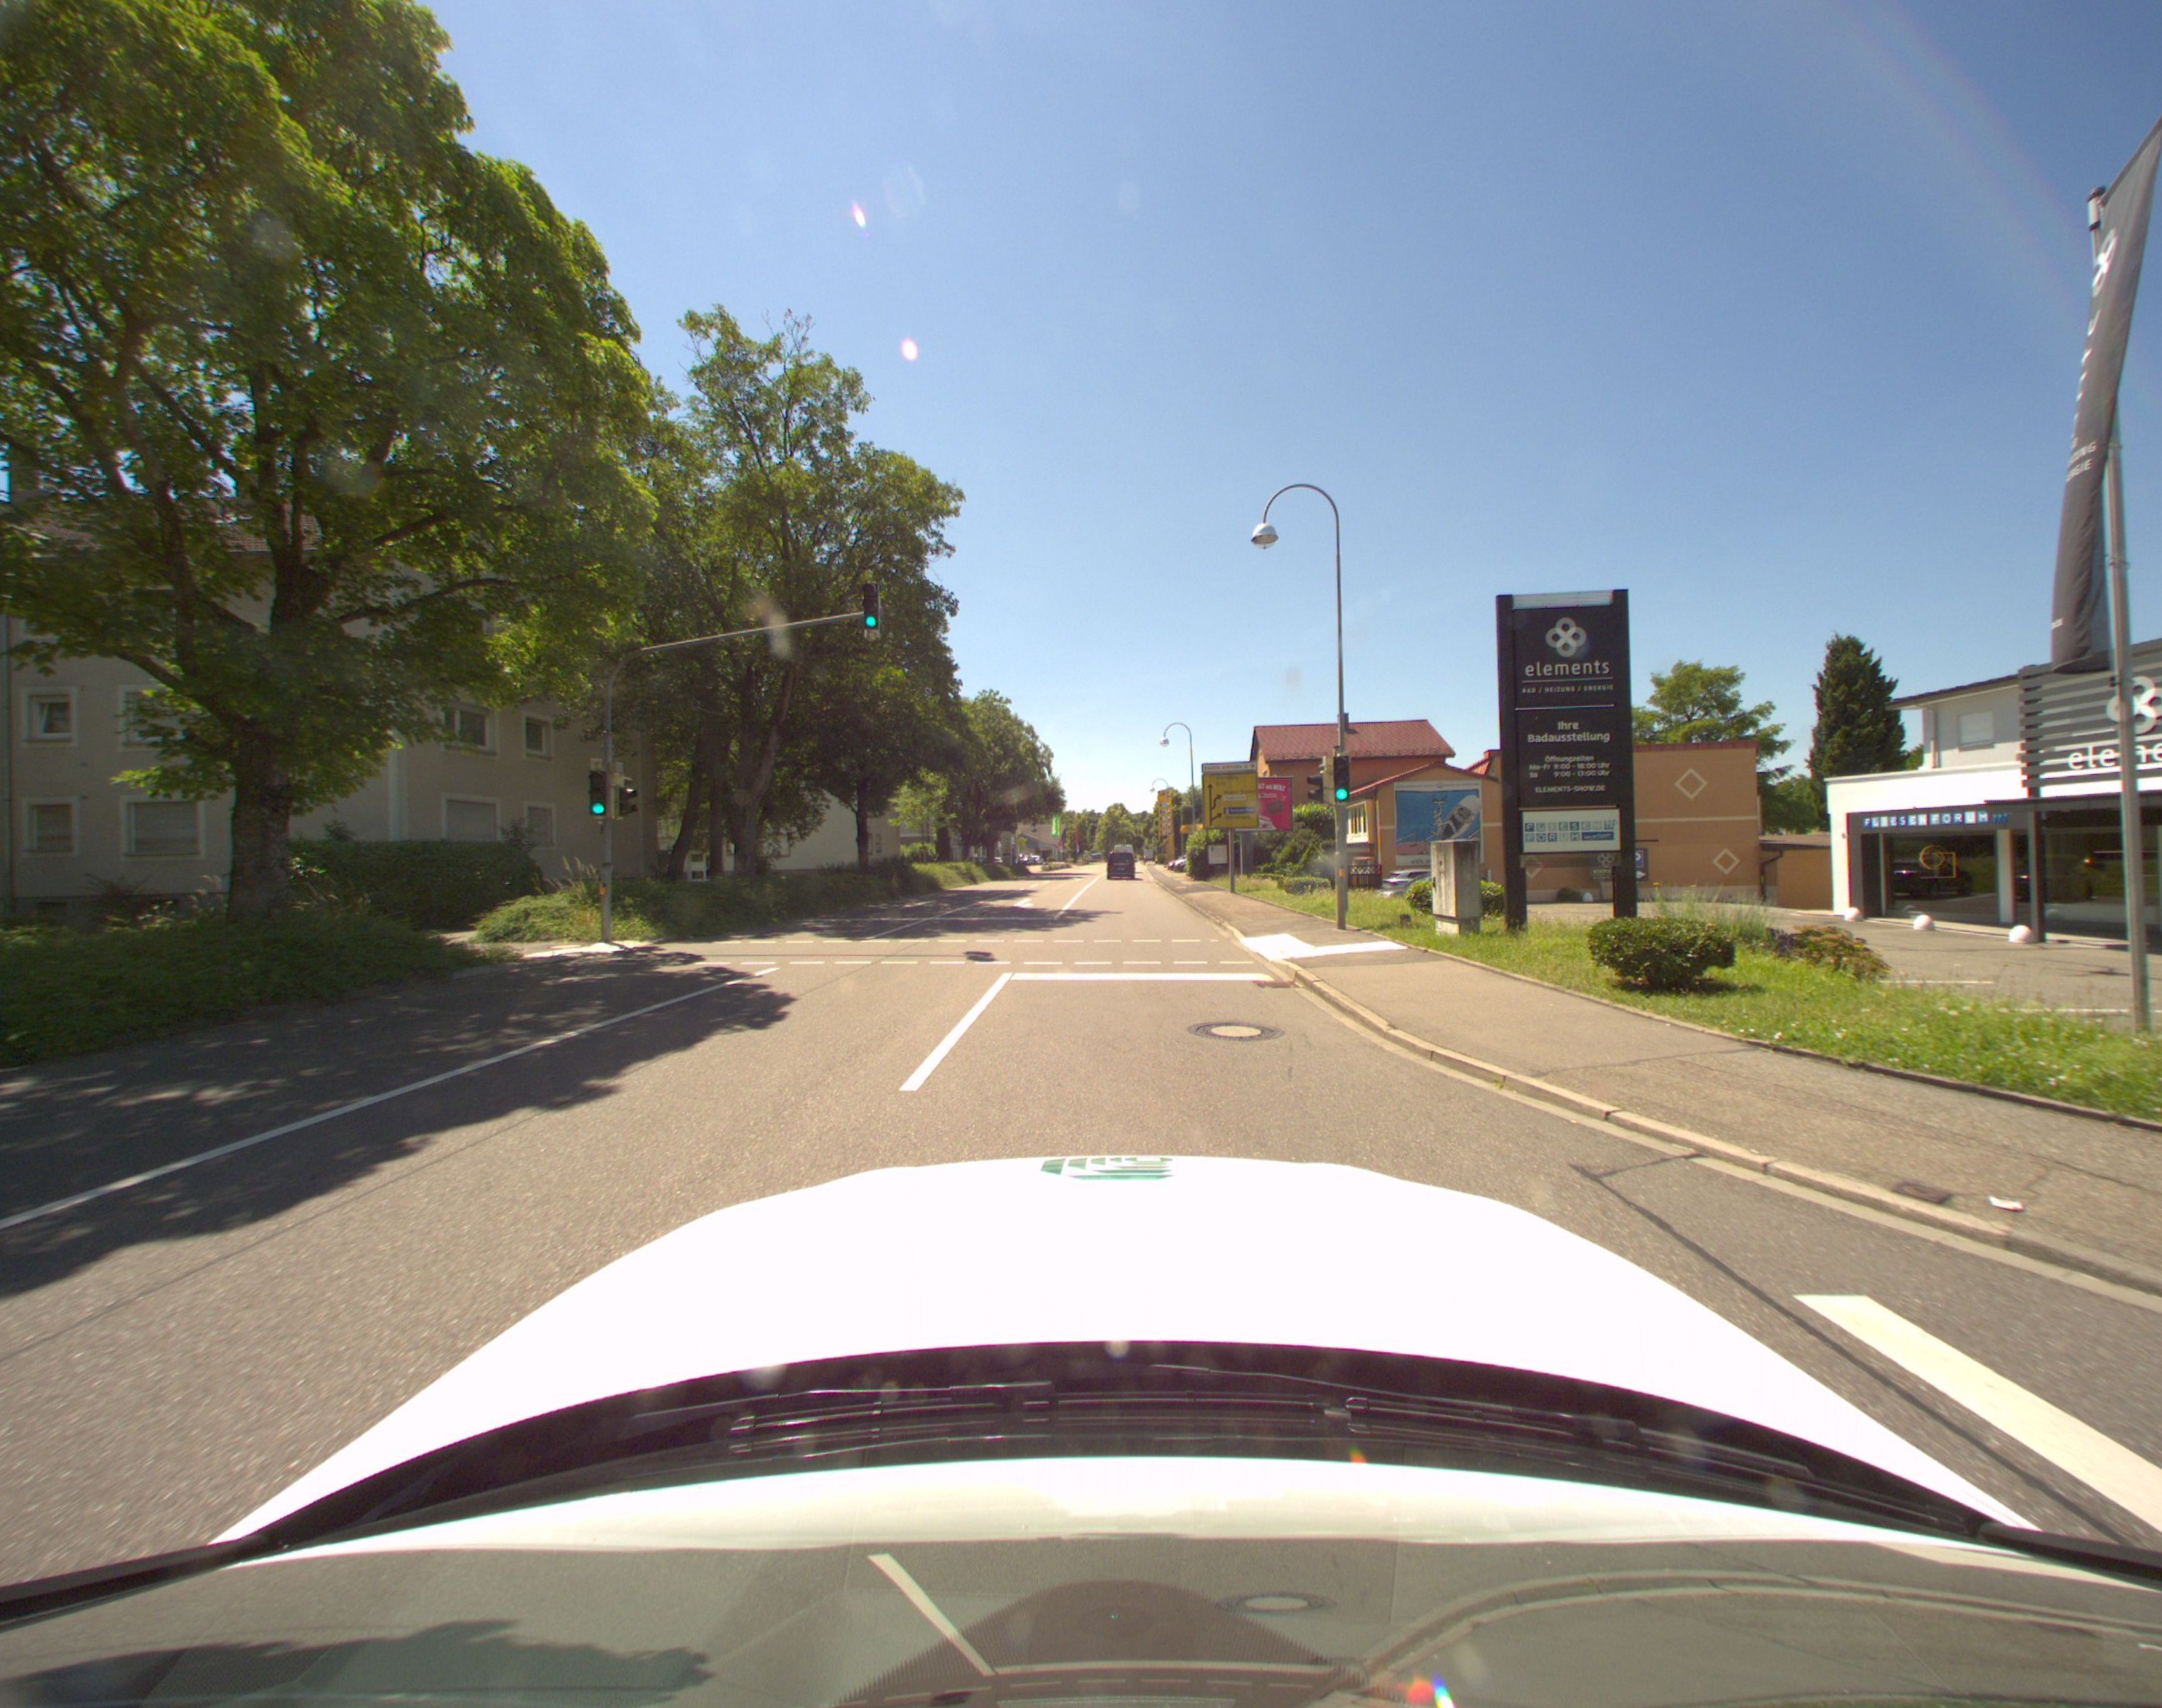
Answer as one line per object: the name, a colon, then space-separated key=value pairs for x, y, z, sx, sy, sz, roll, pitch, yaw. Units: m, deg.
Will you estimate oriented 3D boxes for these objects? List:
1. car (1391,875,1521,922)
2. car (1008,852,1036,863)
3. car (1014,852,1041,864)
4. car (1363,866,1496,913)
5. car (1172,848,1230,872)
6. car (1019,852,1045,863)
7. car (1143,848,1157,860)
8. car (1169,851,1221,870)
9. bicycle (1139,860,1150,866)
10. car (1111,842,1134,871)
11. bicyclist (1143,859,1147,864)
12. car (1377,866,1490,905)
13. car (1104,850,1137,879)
car: x=12.402 y=1.453 z=27.102 sx=3.601 sy=1.417 sz=1.702 roll=0 pitch=1 yaw=8
car: x=-9.383 y=0.537 z=129.124 sx=4.008 sy=1.706 sz=1.912 roll=0 pitch=1 yaw=19
car: x=-8.768 y=0.648 z=133.587 sx=3.958 sy=1.832 sz=1.954 roll=0 pitch=1 yaw=14
car: x=13.129 y=1.310 z=30.871 sx=4.253 sy=1.646 sz=1.892 roll=0 pitch=1 yaw=4
car: x=10.041 y=0.489 z=68.452 sx=4.544 sy=1.717 sz=1.999 roll=-3 pitch=1 yaw=-2
car: x=-8.193 y=0.575 z=136.931 sx=3.960 sy=1.662 sz=2.007 roll=0 pitch=1 yaw=12
car: x=14.771 y=-0.055 z=174.324 sx=2.337 sy=2.546 sz=4.973 roll=0 pitch=1 yaw=12
car: x=9.832 y=0.550 z=70.579 sx=4.146 sy=1.456 sz=1.906 roll=-3 pitch=1 yaw=-2
bicycle: x=10.318 y=1.408 z=131.904 sx=1.725 sy=0.887 sz=0.553 roll=-2 pitch=3 yaw=-27
car: x=3.949 y=0.184 z=76.903 sx=2.111 sy=2.677 sz=5.666 roll=0 pitch=1 yaw=3
bicyclist: x=10.391 y=1.209 z=131.939 sx=0.471 sy=0.853 sz=0.553 roll=-2 pitch=3 yaw=-27
car: x=15.509 y=1.369 z=36.006 sx=4.234 sy=1.599 sz=1.895 roll=-1 pitch=0 yaw=9
car: x=2.610 y=0.662 z=54.802 sx=1.988 sy=1.893 sz=3.999 roll=0 pitch=1 yaw=-1
